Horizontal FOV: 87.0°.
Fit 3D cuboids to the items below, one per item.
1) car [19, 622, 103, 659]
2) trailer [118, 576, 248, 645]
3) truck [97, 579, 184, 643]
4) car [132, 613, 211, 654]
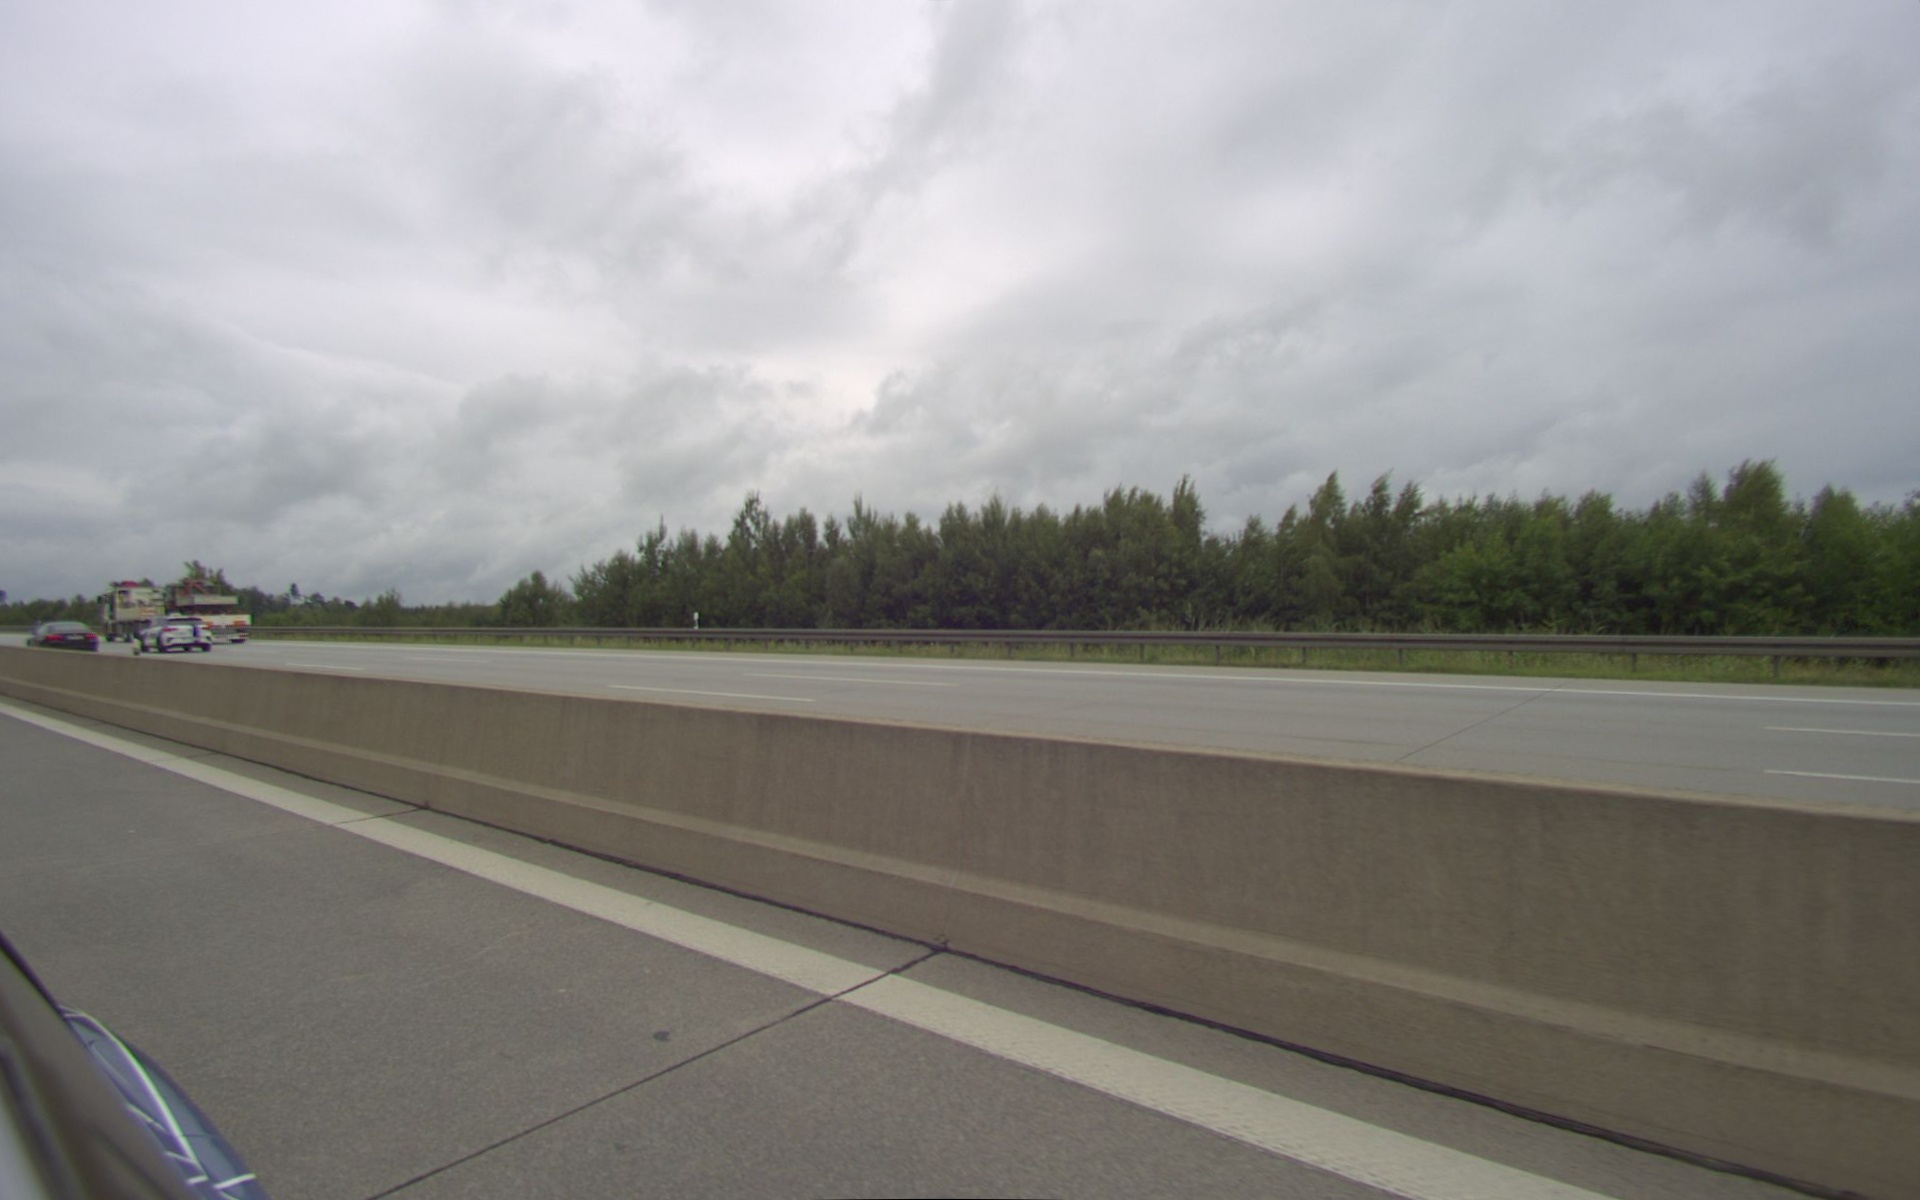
[{"bbox_3d":[-36.852,1.642,41.444,4.487,1.276,1.746,2,-1,38],"label":"car"},{"bbox_3d":[-44.308,0.617,57.413,13.704,3.569,2.562,-1,-1,38],"label":"trailer"},{"bbox_3d":[-50.437,0.716,62.209,7.650,3.680,2.561,-1,-1,38],"label":"truck"},{"bbox_3d":[-33.934,1.439,43.528,4.753,1.599,1.745,-2,0,40],"label":"car"}]
